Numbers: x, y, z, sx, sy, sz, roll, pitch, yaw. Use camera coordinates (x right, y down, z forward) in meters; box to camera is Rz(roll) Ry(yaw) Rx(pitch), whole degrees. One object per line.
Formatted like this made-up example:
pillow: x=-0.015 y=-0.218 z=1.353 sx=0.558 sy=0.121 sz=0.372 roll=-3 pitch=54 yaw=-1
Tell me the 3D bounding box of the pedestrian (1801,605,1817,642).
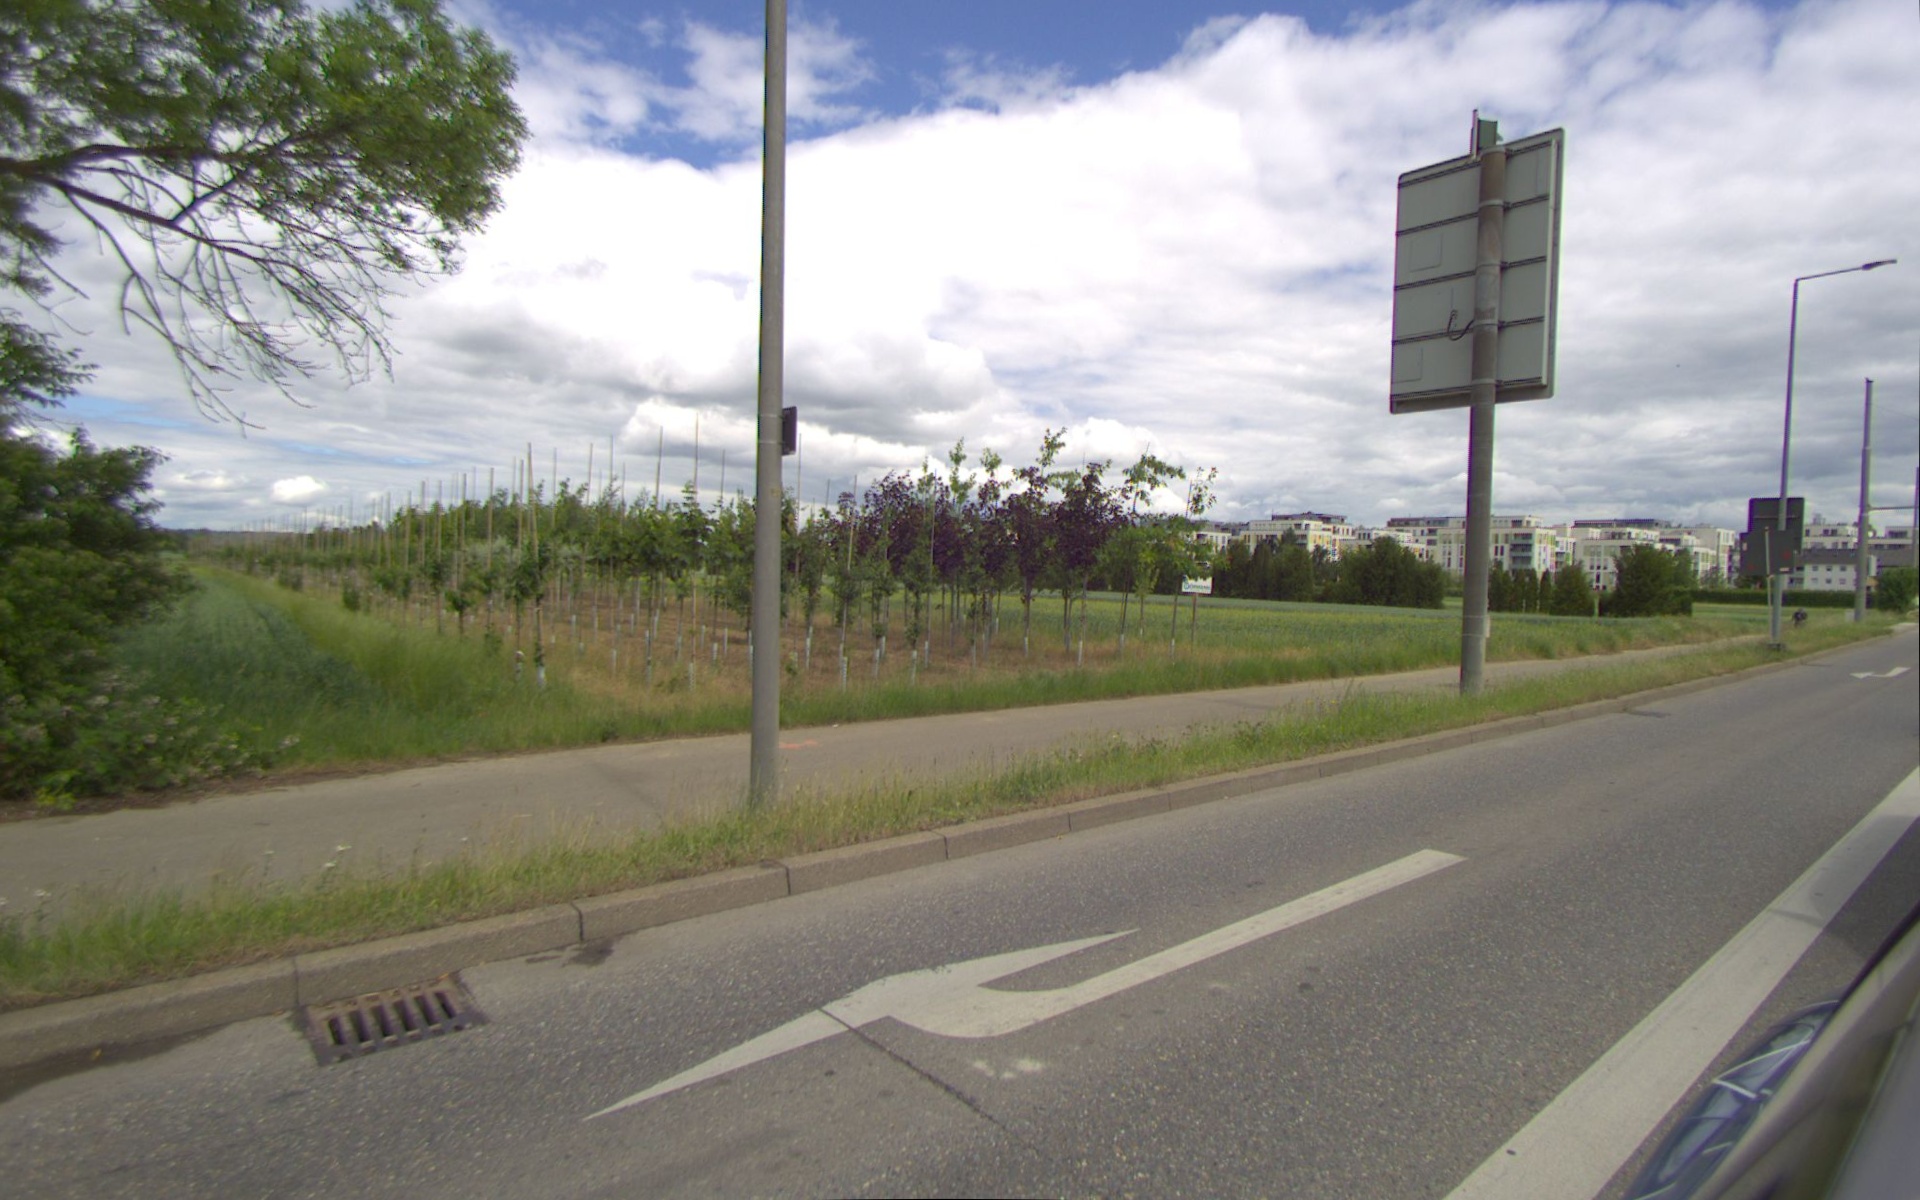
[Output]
pedestrian: x=40.071 y=1.093 z=47.781 sx=0.615 sy=1.724 sz=0.492 roll=0 pitch=0 yaw=-42
